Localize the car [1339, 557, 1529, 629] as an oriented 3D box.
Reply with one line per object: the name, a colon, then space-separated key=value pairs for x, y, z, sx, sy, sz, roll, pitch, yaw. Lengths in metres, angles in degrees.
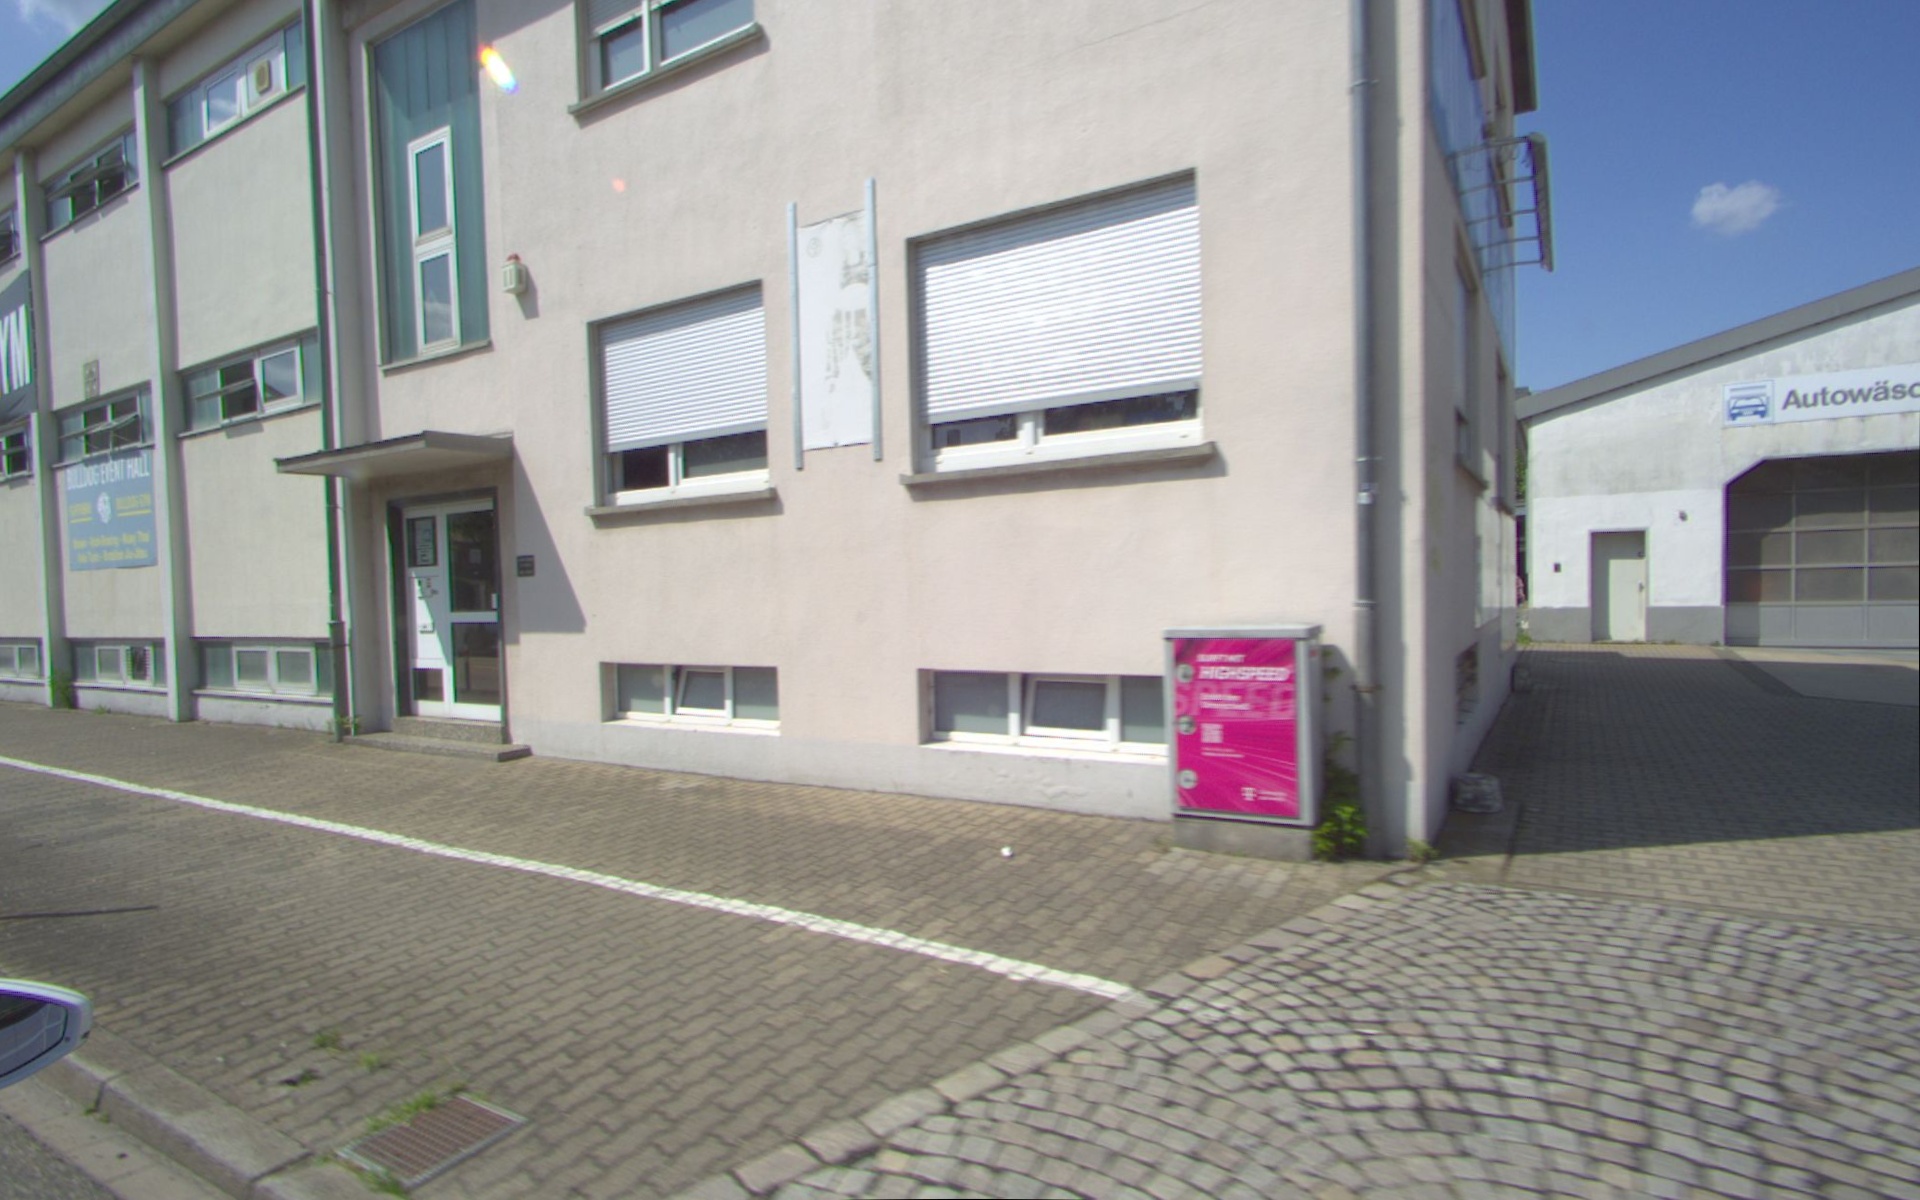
car: x=11.152 y=-0.150 z=23.645 sx=3.886 sy=1.564 sz=1.509 roll=-1 pitch=2 yaw=33
